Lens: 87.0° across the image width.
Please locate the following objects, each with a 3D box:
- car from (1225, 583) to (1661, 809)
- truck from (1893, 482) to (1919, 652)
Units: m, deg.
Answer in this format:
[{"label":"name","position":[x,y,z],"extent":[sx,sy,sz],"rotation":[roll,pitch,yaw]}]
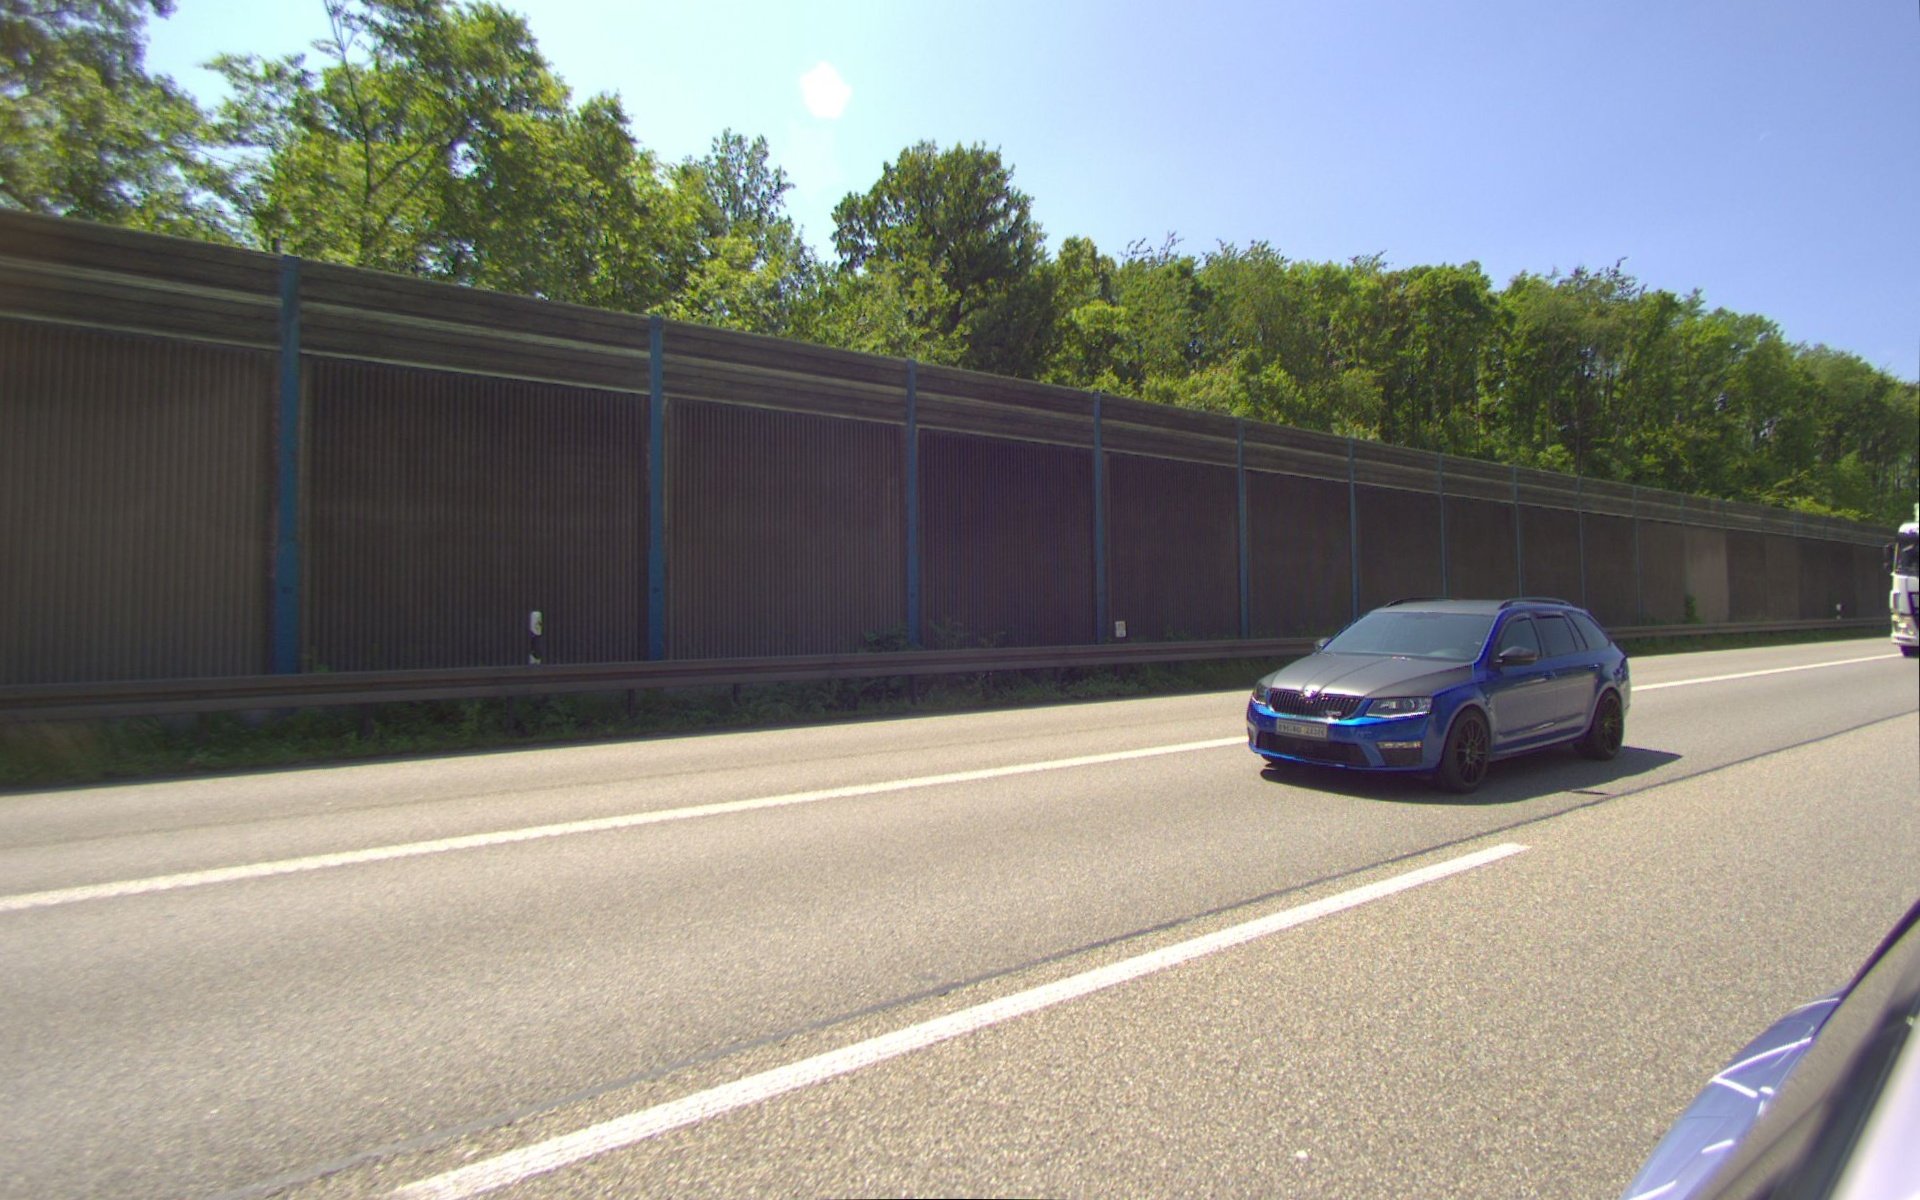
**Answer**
[{"label":"car","position":[4.440,0.645,9.011],"extent":[4.399,1.501,1.655],"rotation":[-2,1,-37]},{"label":"truck","position":[27.003,-0.823,26.318],"extent":[5.757,4.258,2.795],"rotation":[0,-1,-35]}]
